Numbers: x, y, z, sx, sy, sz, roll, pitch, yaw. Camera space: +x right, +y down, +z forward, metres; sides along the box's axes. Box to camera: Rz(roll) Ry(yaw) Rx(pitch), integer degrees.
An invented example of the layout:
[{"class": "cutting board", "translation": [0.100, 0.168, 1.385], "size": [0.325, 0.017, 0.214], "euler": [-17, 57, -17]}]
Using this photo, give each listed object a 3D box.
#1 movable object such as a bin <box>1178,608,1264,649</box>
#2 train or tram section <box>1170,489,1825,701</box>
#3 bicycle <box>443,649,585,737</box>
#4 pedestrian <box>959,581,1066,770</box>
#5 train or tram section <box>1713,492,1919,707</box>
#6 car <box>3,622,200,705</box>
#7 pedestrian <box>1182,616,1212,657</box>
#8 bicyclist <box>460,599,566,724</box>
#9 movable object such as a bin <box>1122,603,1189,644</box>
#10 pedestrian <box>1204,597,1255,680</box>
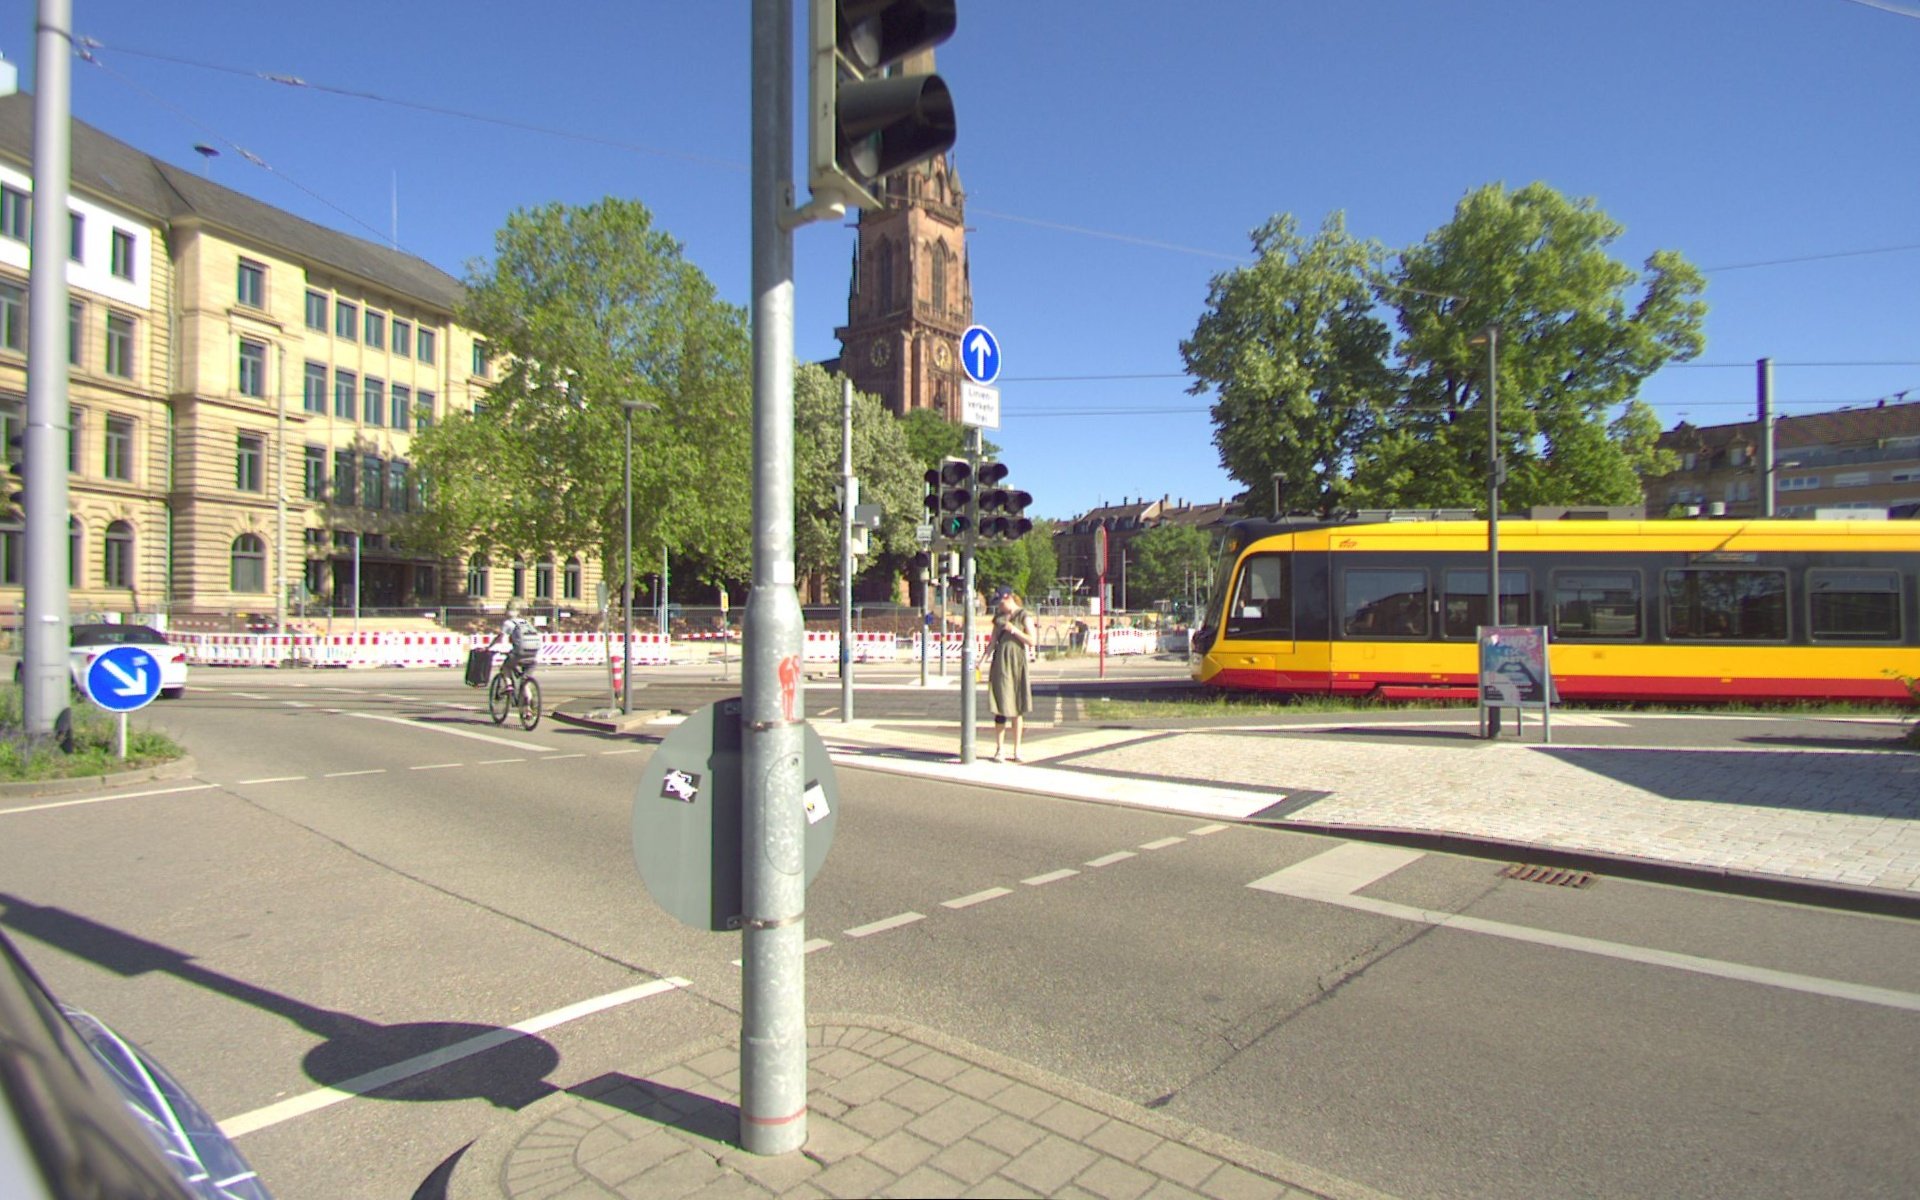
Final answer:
[{"class": "movable object such as a bin", "translation": [19.198, 2.059, 74.632], "size": [1.865, 2.780, 6.093], "euler": [1, 0, -42]}, {"class": "train or tram section", "translation": [9.340, -0.048, 18.785], "size": [10.348, 3.534, 2.822], "euler": [0, -1, 6]}, {"class": "bicycle", "translation": [-6.186, 1.251, 14.011], "size": [2.028, 1.089, 0.767], "euler": [0, -2, 32]}, {"class": "pedestrian", "translation": [0.558, 0.766, 10.571], "size": [0.760, 1.864, 0.894], "euler": [-3, -2, 27]}, {"class": "train or tram section", "translation": [19.681, -0.019, 17.584], "size": [10.483, 3.534, 2.820], "euler": [0, 0, 7]}, {"class": "car", "translation": [-16.403, 1.155, 19.287], "size": [4.082, 1.404, 1.785], "euler": [-1, -3, 34]}, {"class": "pedestrian", "translation": [10.482, 1.595, 44.769], "size": [0.850, 1.781, 0.976], "euler": [1, -2, -33]}, {"class": "bicyclist", "translation": [-6.206, 0.826, 14.055], "size": [1.056, 1.657, 0.873], "euler": [0, -2, 31]}, {"class": "movable object such as a bin", "translation": [16.156, 1.860, 83.502], "size": [3.121, 3.197, 5.171], "euler": [1, 0, 44]}, {"class": "pedestrian", "translation": [6.102, 0.881, 22.964], "size": [1.007, 1.846, 0.759], "euler": [1, -4, 7]}]
